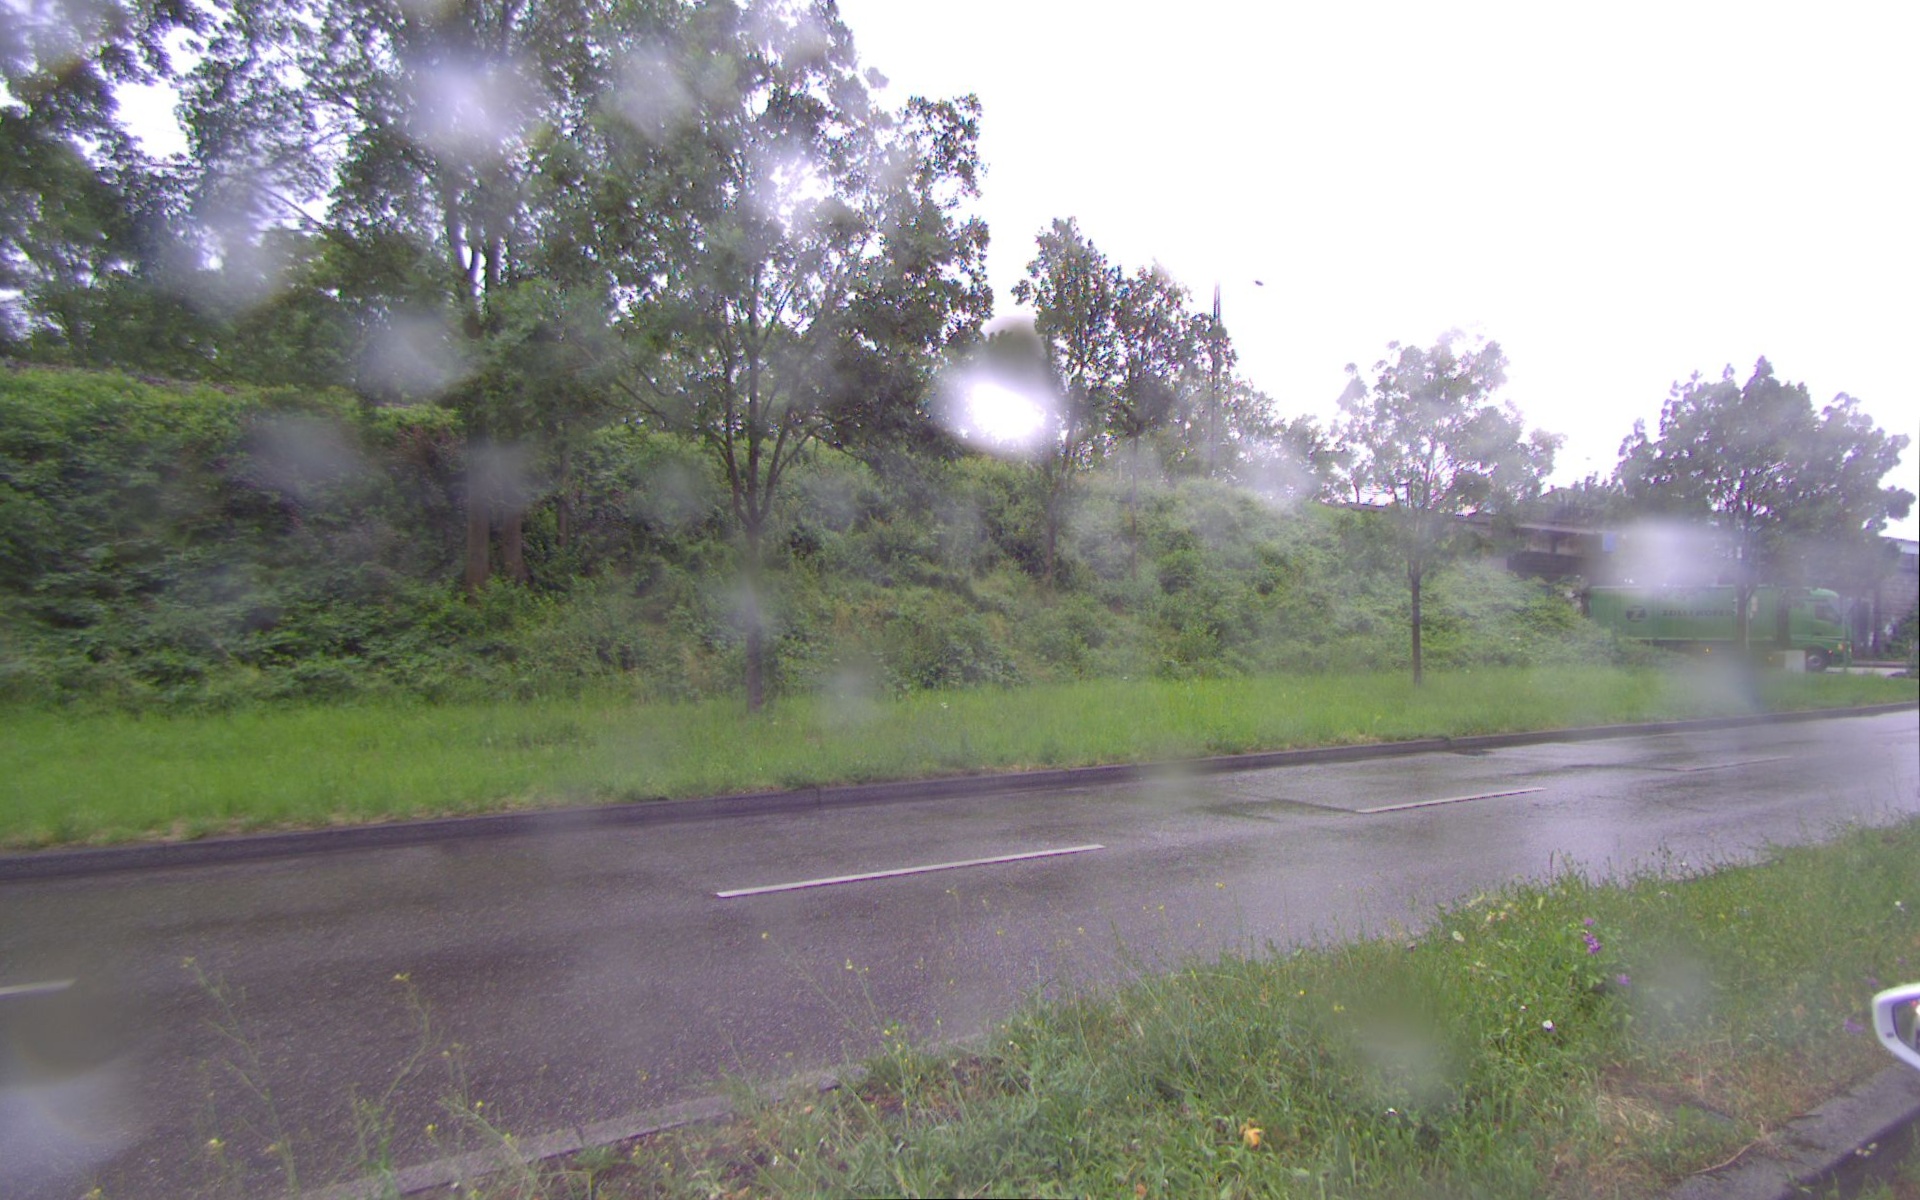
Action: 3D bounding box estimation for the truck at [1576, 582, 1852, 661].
[{"bbox_3d":[34.344,0.926,46.322,9.872,3.416,2.346,0,-1,25],"label":"truck"}]
